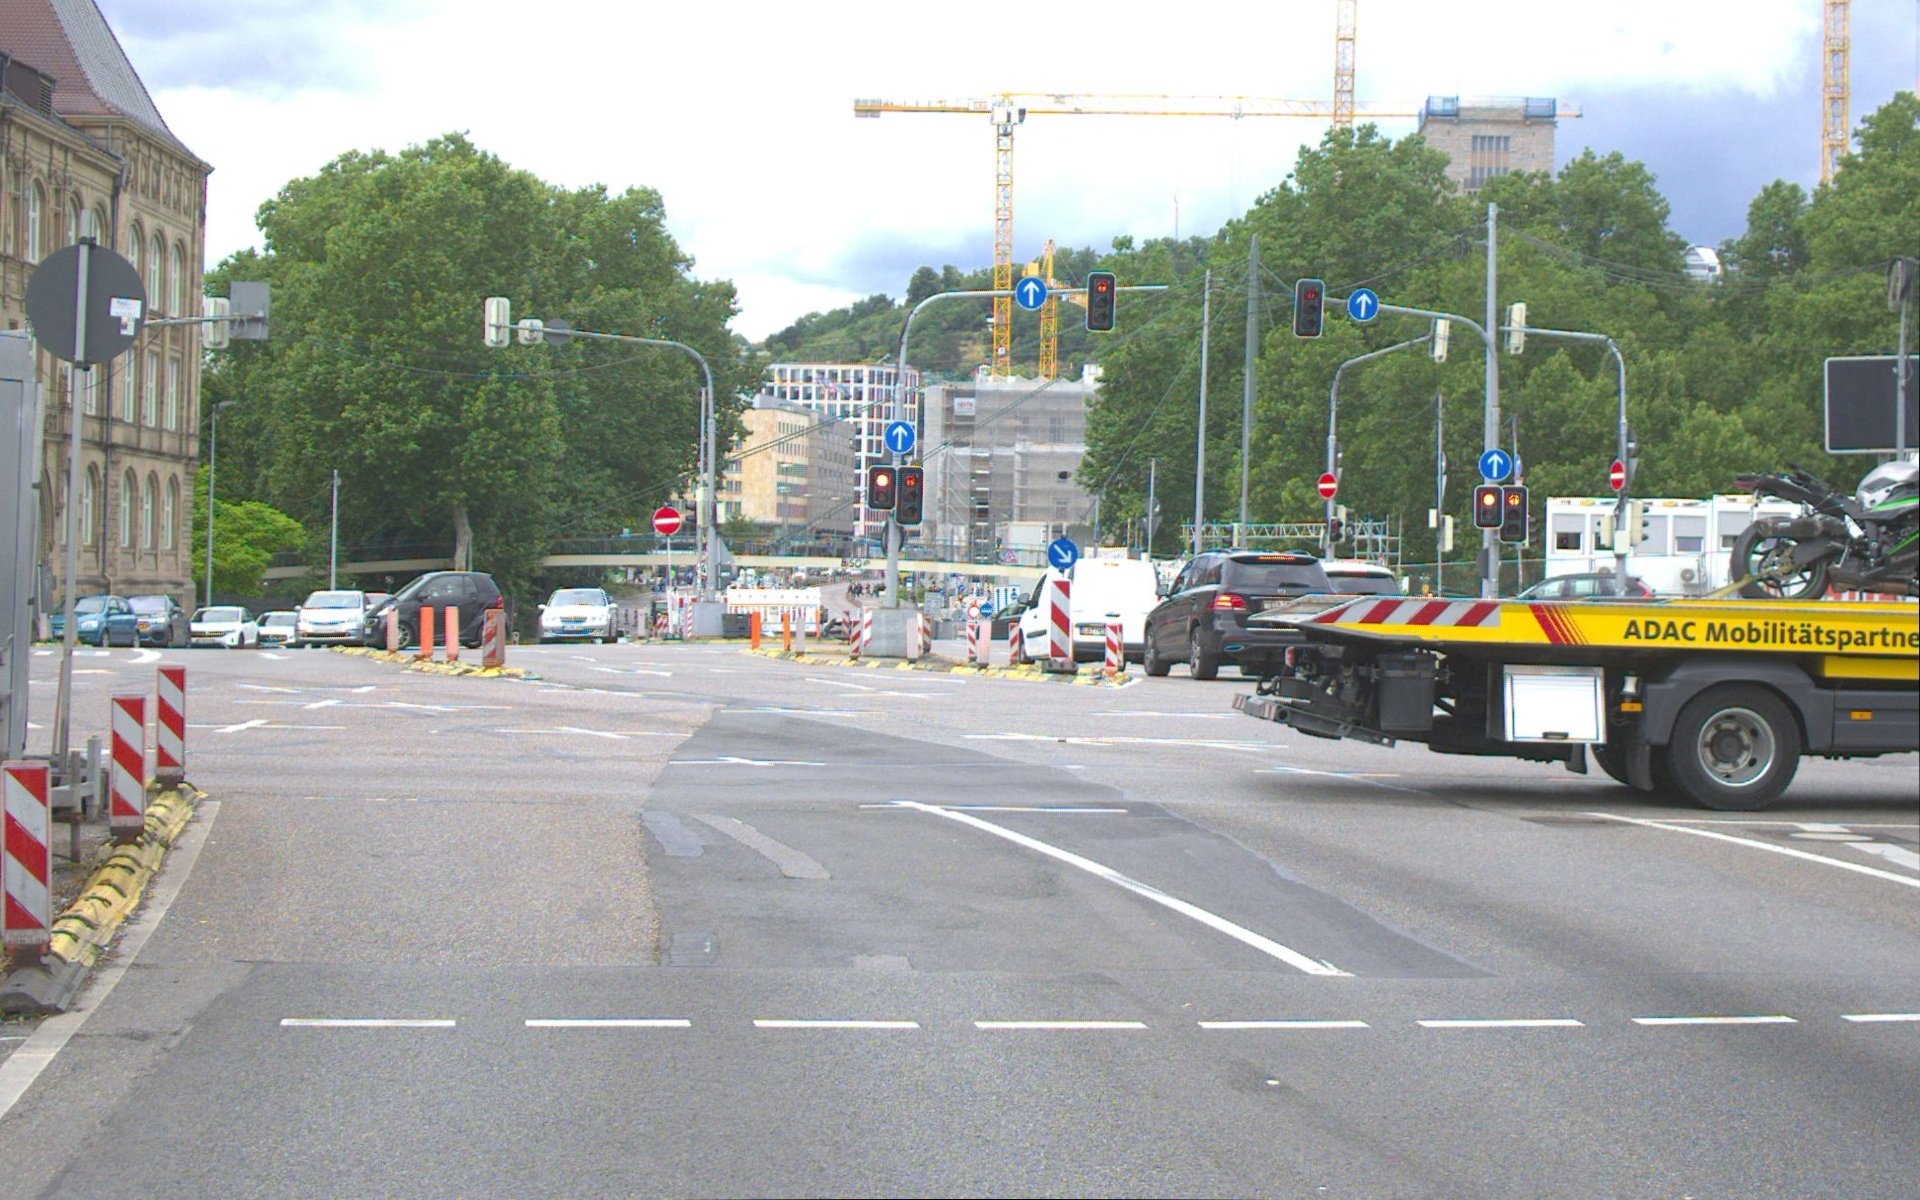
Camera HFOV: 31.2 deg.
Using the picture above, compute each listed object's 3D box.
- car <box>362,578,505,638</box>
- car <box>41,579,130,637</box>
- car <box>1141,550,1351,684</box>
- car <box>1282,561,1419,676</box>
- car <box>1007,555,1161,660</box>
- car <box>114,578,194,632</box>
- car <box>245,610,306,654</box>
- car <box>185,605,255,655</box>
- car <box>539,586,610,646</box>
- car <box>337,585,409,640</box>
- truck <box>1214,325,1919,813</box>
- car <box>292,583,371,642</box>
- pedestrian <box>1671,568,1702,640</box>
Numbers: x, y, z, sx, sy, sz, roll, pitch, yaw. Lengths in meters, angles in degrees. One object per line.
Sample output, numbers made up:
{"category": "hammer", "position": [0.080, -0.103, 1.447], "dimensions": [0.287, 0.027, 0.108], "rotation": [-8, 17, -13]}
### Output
{"category": "car", "position": [-10.354, 0.157, 67.552], "dimensions": [2.688, 1.138, 1.358], "rotation": [1, 0, -11]}
{"category": "car", "position": [-21.982, 0.192, 86.507], "dimensions": [1.675, 1.393, 3.684], "rotation": [1, 1, -7]}
{"category": "car", "position": [3.870, 0.199, 47.240], "dimensions": [1.831, 1.740, 4.257], "rotation": [1, 1, -10]}
{"category": "car", "position": [5.997, 0.267, 53.066], "dimensions": [1.676, 1.696, 3.374], "rotation": [1, 1, -1]}
{"category": "car", "position": [1.962, 0.100, 55.546], "dimensions": [1.816, 1.619, 4.001], "rotation": [1, 1, -8]}
{"category": "car", "position": [-21.759, 0.133, 92.936], "dimensions": [1.675, 1.393, 3.684], "rotation": [1, 1, -7]}
{"category": "car", "position": [-22.689, 1.052, 114.064], "dimensions": [1.675, 1.393, 3.684], "rotation": [1, 1, -7]}
{"category": "car", "position": [-22.025, 0.876, 102.366], "dimensions": [1.675, 1.393, 3.684], "rotation": [1, 1, -7]}
{"category": "car", "position": [-9.548, 0.379, 85.052], "dimensions": [1.675, 1.393, 3.684], "rotation": [1, 1, -7]}
{"category": "car", "position": [-15.653, 0.328, 91.810], "dimensions": [1.675, 1.393, 3.684], "rotation": [1, 1, -7]}
{"category": "truck", "position": [6.257, -0.150, 21.632], "dimensions": [8.980, 2.794, 2.627], "rotation": [1, 1, -3]}
{"category": "car", "position": [-15.633, 0.289, 85.648], "dimensions": [1.675, 1.393, 3.684], "rotation": [1, 1, -7]}
{"category": "pedestrian", "position": [17.743, 0.087, 83.985], "dimensions": [0.526, 1.742, 0.468], "rotation": [1, 1, -24]}
